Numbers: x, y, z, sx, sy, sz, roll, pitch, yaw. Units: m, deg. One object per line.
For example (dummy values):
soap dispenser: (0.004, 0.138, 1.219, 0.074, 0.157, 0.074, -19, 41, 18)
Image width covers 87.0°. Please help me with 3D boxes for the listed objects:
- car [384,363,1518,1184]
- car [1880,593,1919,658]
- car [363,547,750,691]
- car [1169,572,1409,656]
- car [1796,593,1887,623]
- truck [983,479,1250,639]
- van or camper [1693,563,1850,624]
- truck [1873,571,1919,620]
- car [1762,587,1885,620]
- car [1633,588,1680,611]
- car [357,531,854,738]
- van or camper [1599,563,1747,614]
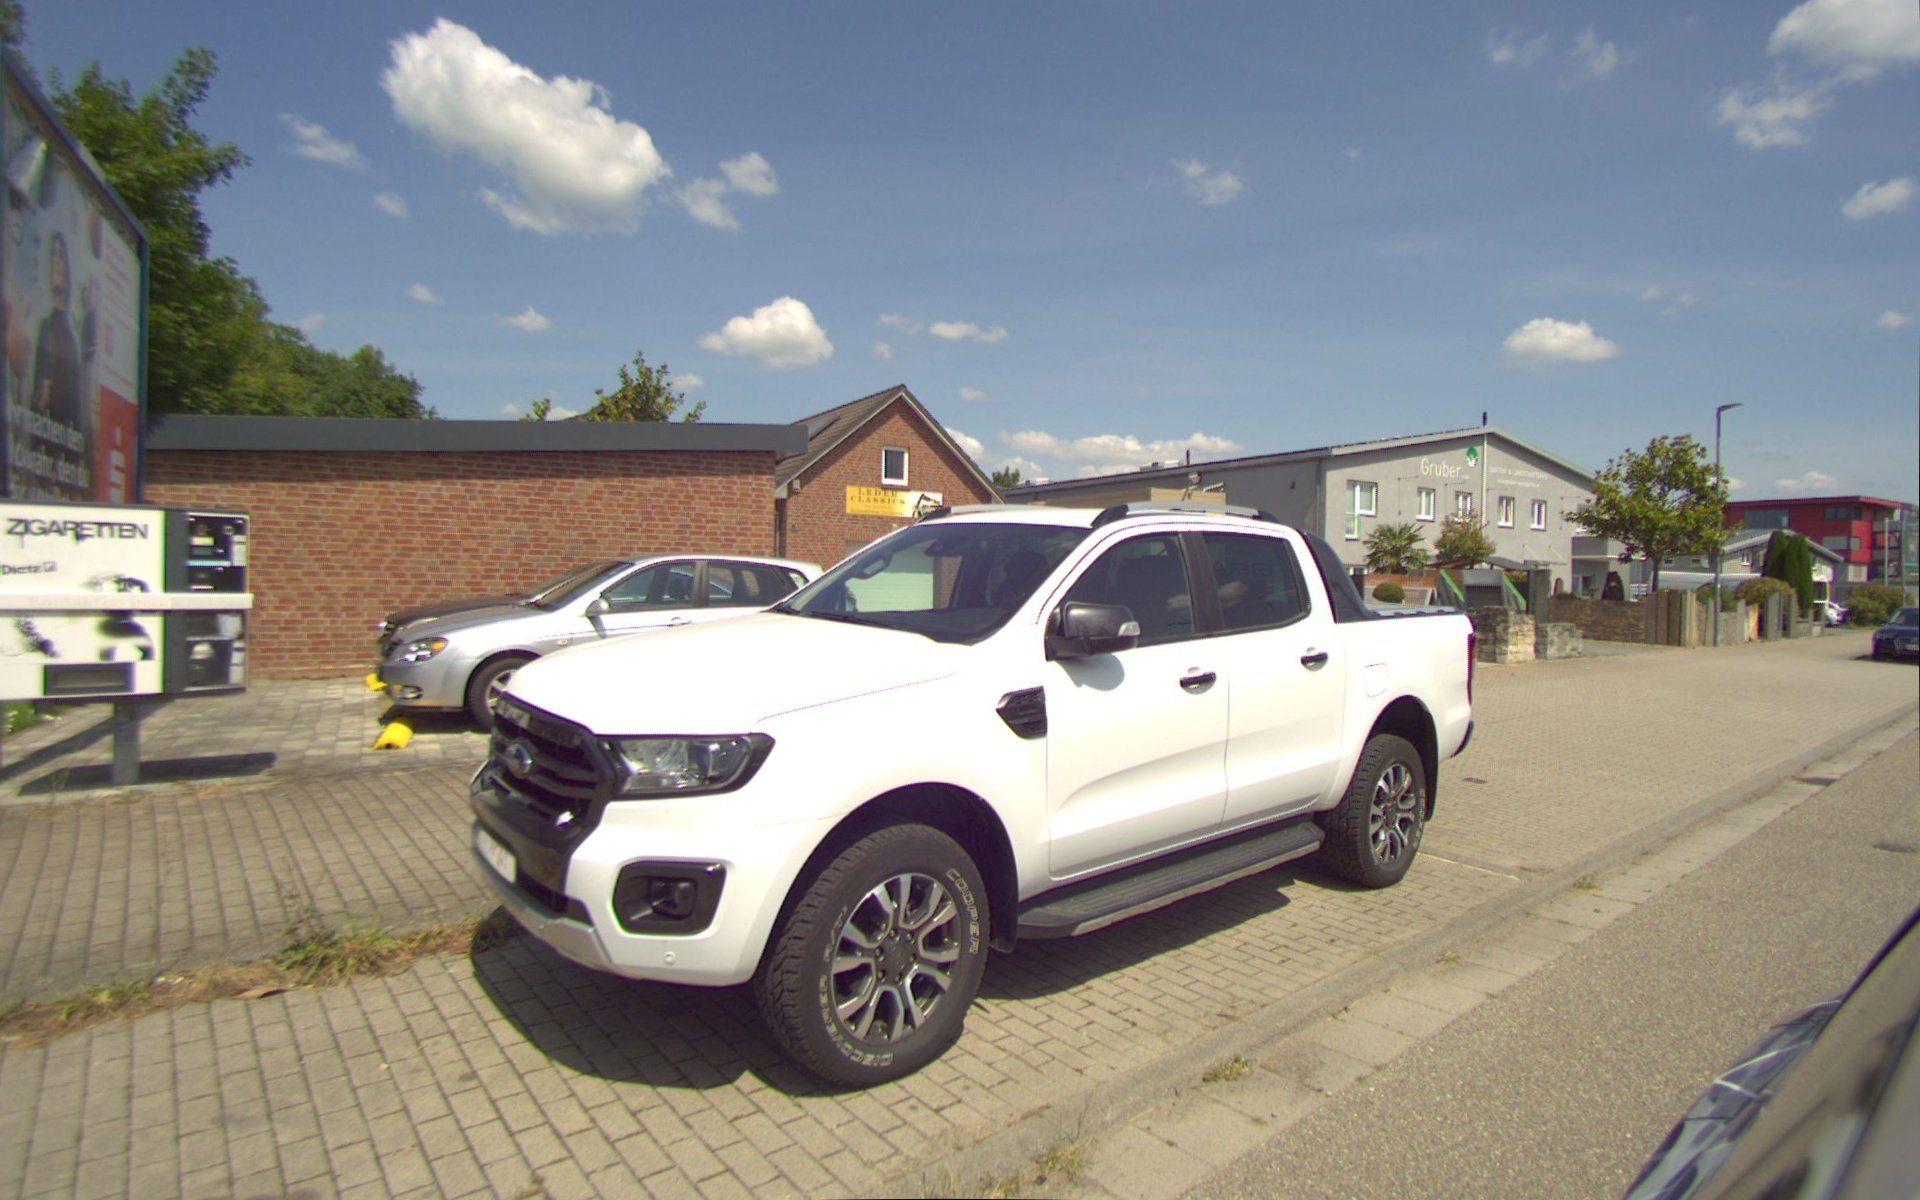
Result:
car: (0.530, 0.353, 4.711, 5.329, 1.837, 1.851, 0, 2, -41)
car: (24.525, 0.630, 25.237, 4.635, 1.490, 1.765, 0, 2, -41)
car: (-4.634, 0.162, 11.737, 3.921, 1.393, 1.754, 0, 3, -32)
car: (6.340, 0.201, 19.980, 1.937, 1.438, 4.286, 1, 1, -31)
car: (50.353, 0.434, 57.847, 1.684, 1.505, 3.702, 0, 2, -39)
truck: (3.648, -0.974, 25.209, 3.045, 3.430, 6.489, 1, 1, -32)
van or camper: (36.486, -0.340, 45.659, 1.959, 2.565, 5.117, 1, 2, -27)
truck: (55.709, -0.278, 58.817, 5.669, 2.722, 2.387, 1, 1, -32)
car: (44.686, 0.168, 52.437, 1.684, 1.505, 4.605, 0, 2, -39)
car: (44.744, -0.006, 64.991, 2.772, 1.423, 1.457, 1, 1, -32)
car: (-3.166, 0.224, 9.203, 3.922, 1.498, 1.913, 0, 2, -33)
van or camper: (36.543, -0.640, 52.064, 2.091, 2.468, 5.849, 1, 2, -30)
